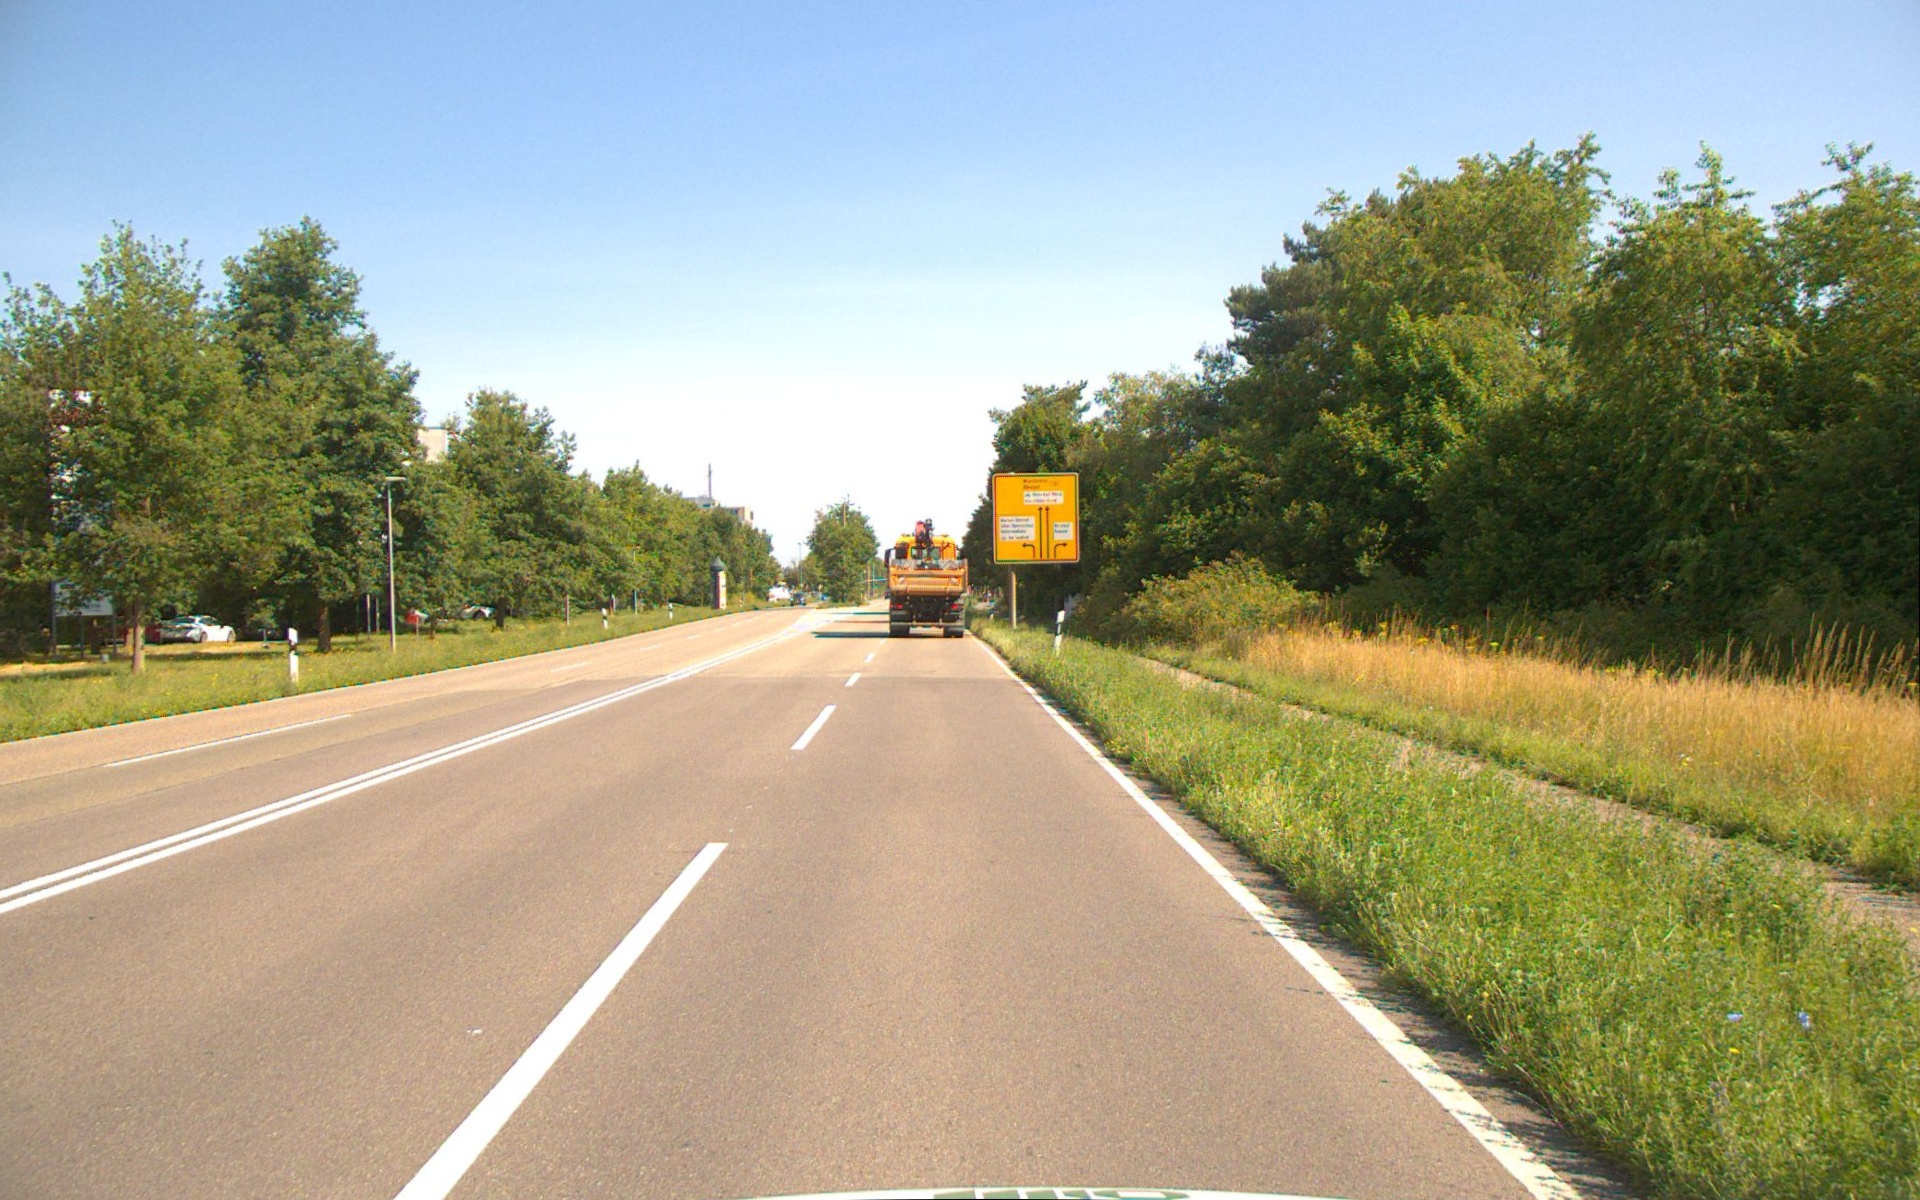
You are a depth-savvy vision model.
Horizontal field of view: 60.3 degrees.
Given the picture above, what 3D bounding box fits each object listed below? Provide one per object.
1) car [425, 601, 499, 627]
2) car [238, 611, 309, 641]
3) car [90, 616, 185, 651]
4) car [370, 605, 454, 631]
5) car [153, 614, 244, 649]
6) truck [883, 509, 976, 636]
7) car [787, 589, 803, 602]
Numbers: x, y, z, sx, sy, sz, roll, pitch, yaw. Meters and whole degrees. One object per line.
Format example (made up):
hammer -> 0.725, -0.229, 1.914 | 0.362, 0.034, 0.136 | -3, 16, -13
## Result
car -> -34.354, 0.958, 114.171 | 4.502, 1.679, 1.999 | -1, 0, -2
car -> -36.469, 1.349, 87.967 | 1.953, 1.462, 4.609 | -1, 1, -1
car -> -38.401, 1.526, 77.352 | 1.953, 1.462, 4.955 | -1, 1, 0
car -> -33.809, 1.125, 102.186 | 4.502, 1.462, 1.999 | -1, 0, -2
car -> -35.863, 1.449, 78.018 | 1.953, 1.462, 4.955 | -1, 1, 0
truck -> -1.129, -0.892, 55.747 | 2.815, 3.948, 7.395 | 1, 0, -3
car -> -21.262, -0.557, 213.508 | 1.764, 1.599, 3.999 | -2, 0, -2
